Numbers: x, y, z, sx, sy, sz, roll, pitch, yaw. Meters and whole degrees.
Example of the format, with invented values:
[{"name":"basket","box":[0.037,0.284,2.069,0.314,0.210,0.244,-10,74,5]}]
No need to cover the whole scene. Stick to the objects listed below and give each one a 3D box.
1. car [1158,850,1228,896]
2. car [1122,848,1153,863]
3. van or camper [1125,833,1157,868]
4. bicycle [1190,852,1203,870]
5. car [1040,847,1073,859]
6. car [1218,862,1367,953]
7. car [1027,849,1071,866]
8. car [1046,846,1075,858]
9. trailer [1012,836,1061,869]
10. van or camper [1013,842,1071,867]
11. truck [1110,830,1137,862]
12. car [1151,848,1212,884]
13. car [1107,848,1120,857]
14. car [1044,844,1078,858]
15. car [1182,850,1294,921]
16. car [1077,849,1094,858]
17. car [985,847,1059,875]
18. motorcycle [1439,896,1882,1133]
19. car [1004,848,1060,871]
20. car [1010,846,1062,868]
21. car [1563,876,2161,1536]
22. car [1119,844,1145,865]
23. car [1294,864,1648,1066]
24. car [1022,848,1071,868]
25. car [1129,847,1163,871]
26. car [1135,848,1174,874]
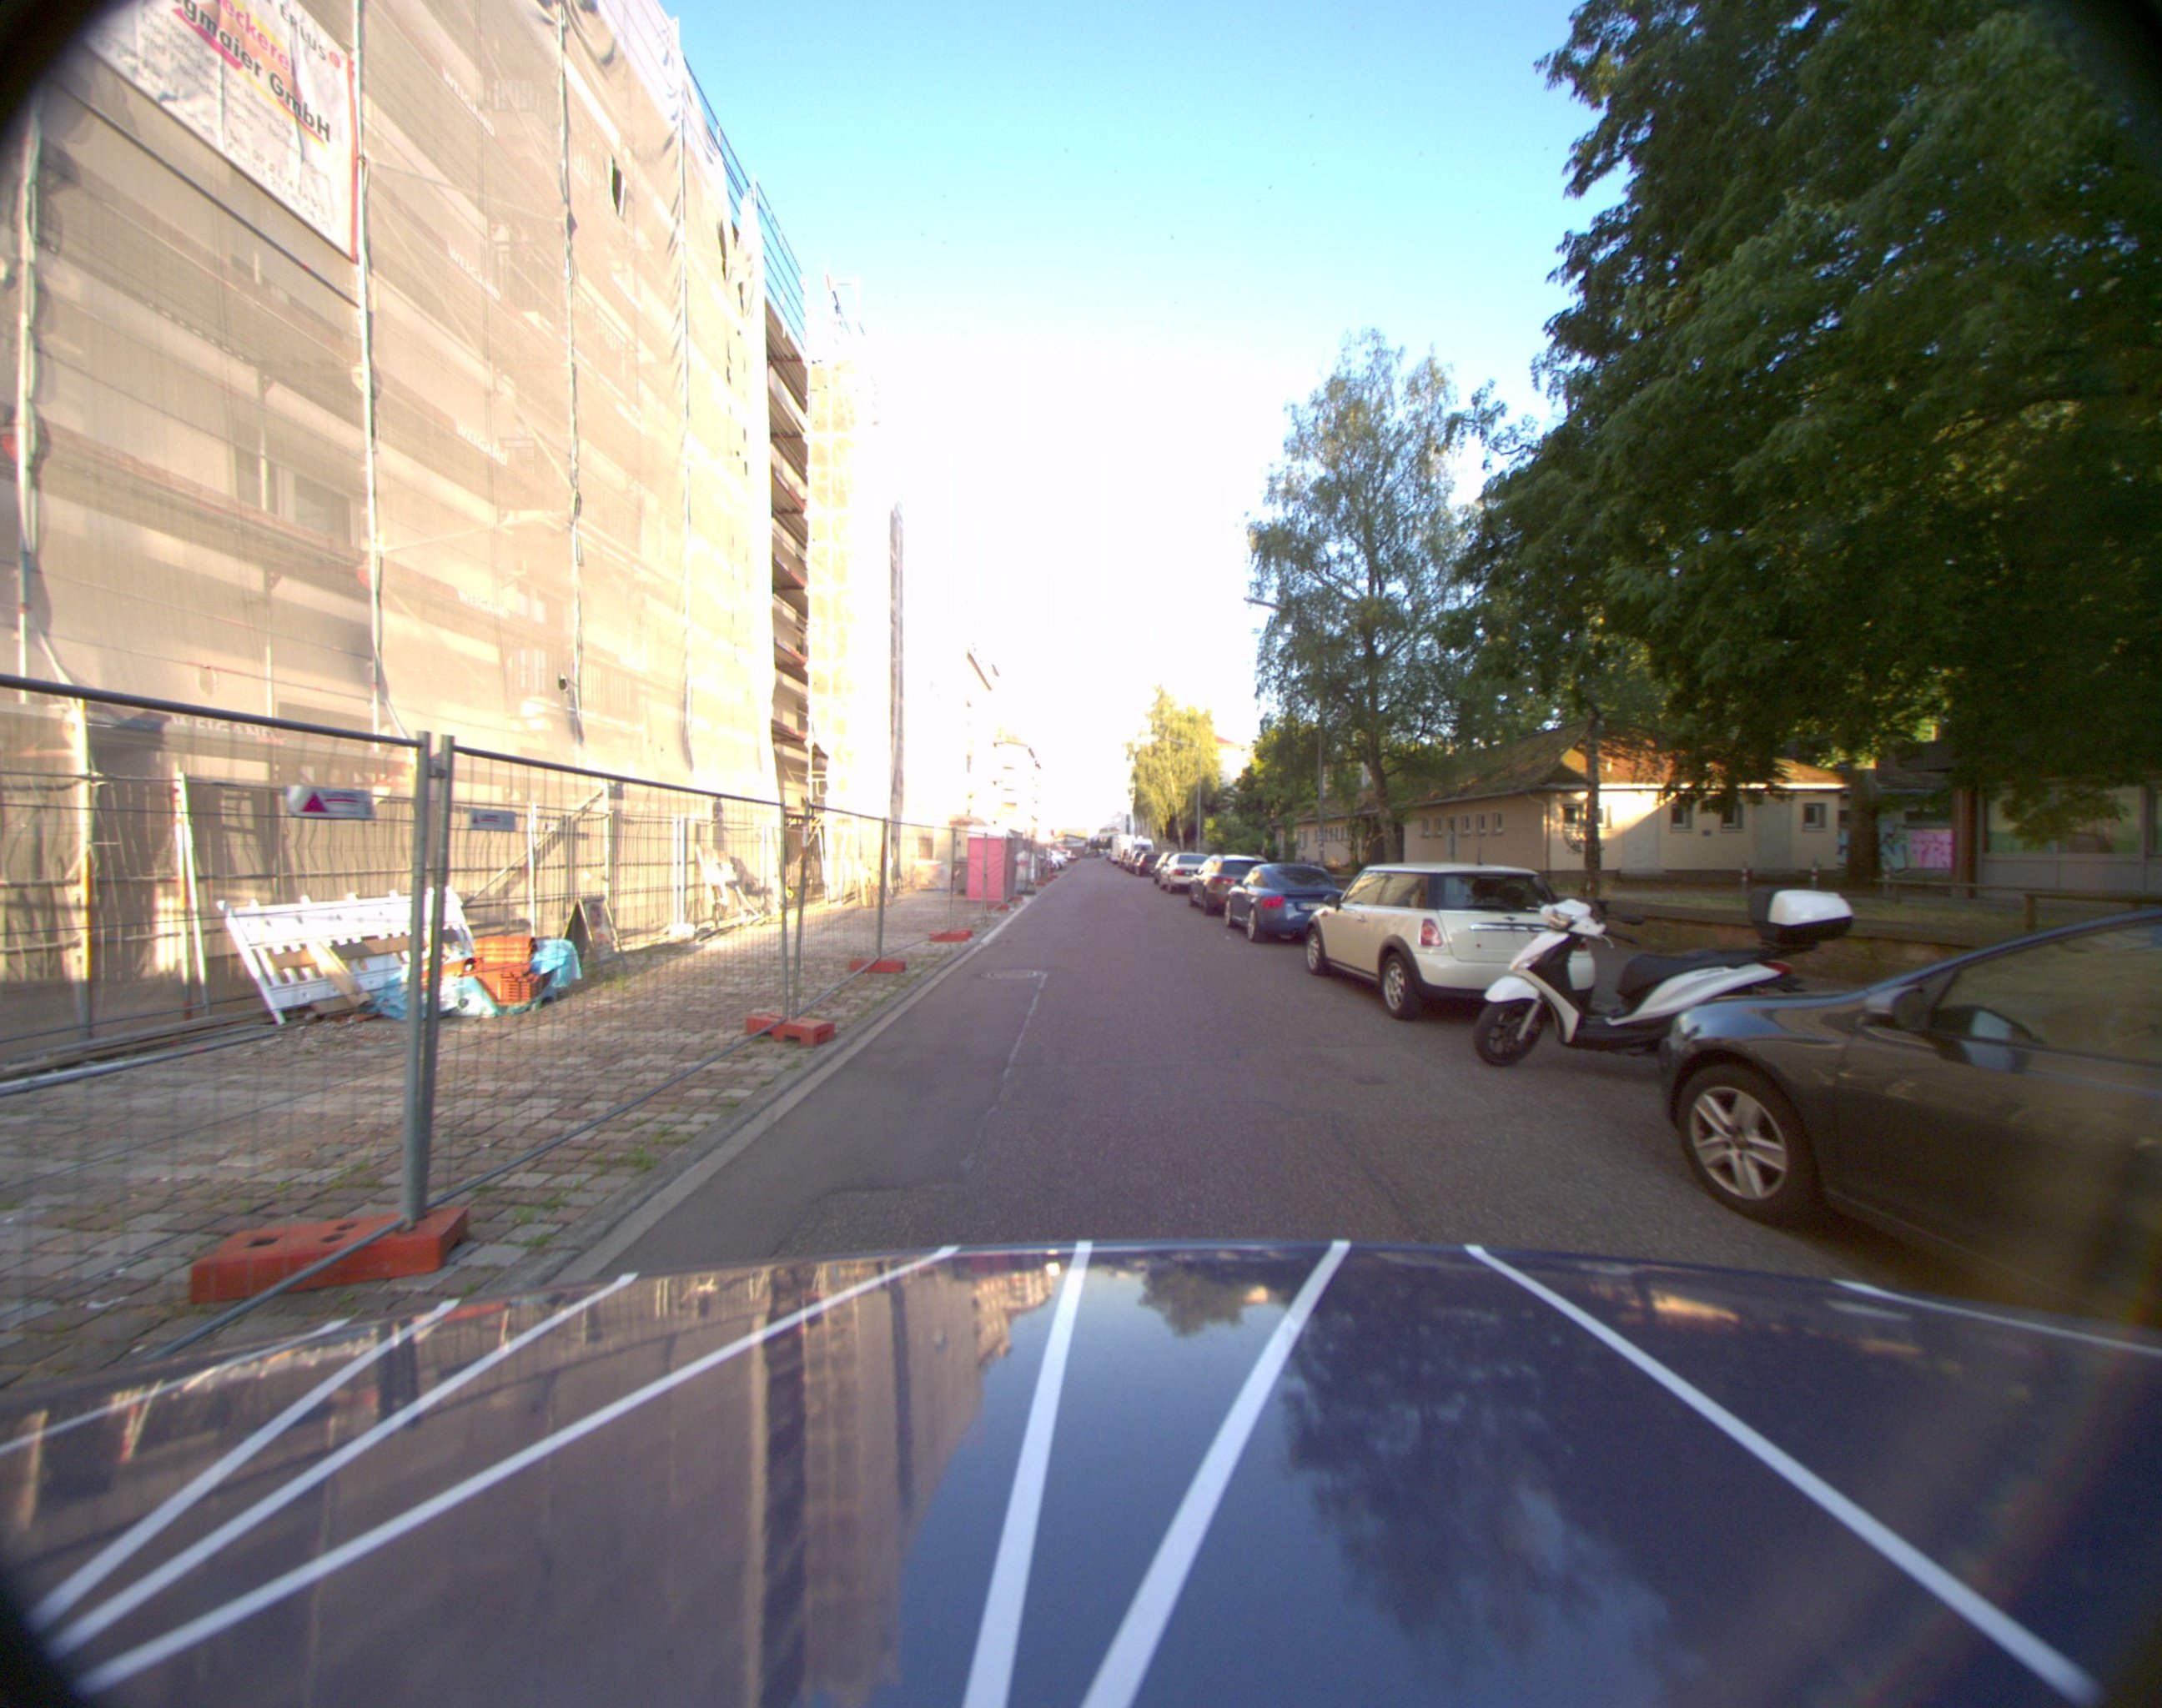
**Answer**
[{"name":"car","box":[3.931,0.621,27.448,1.787,1.437,4.748,2,1,0]},{"name":"car","box":[4.705,0.138,63.404,1.999,1.182,4.034,-1,1,-4]},{"name":"van or camper","box":[4.491,-0.264,57.374,1.998,2.442,6.082,0,0,1]},{"name":"bicycle","box":[7.643,0.450,50.375,0.544,1.111,1.955,-1,1,0]},{"name":"car","box":[-3.262,-0.177,101.072,4.310,1.532,1.923,0,1,2]},{"name":"car","box":[3.689,0.868,13.999,1.663,1.306,4.154,1,1,1]},{"name":"car","box":[-3.051,0.336,72.462,4.113,1.576,1.854,0,1,-2]},{"name":"car","box":[-2.853,-0.266,106.094,3.997,1.619,1.784,0,1,-2]},{"name":"trailer","box":[-3.362,-0.102,58.037,3.577,2.323,1.940,2,1,-2]},{"name":"van or camper","box":[-3.308,0.065,65.506,4.846,2.084,2.040,0,1,0]},{"name":"truck","box":[4.744,-0.937,85.462,2.532,3.334,8.017,2,1,1]},{"name":"car","box":[4.312,0.469,33.240,1.999,1.444,3.999,-1,1,-2]},{"name":"car","box":[5.462,-0.272,129.326,1.999,1.481,4.431,-1,0,-1]},{"name":"car","box":[-2.834,-0.480,109.000,4.685,1.988,2.000,0,1,2]},{"name":"car","box":[3.820,0.684,19.305,1.864,1.529,4.758,1,1,0]},{"name":"car","box":[0.752,-0.031,127.679,2.000,1.481,4.427,-1,0,-11]},{"name":"car","box":[-3.493,0.393,45.521,4.163,1.606,1.872,0,1,2]},{"name":"motorcycle","box":[3.652,0.966,5.054,2.167,1.296,0.881,-1,1,15]},{"name":"car","box":[-3.569,0.390,55.518,3.998,1.628,1.902,0,1,-2]},{"name":"car","box":[-3.527,0.229,60.141,3.997,1.718,1.999,0,2,-1]},{"name":"car","box":[3.462,0.905,1.882,1.720,1.487,4.360,1,1,0]},{"name":"car","box":[4.520,-0.002,68.047,1.915,1.777,4.949,1,0,0]},{"name":"car","box":[3.577,0.895,7.831,1.605,1.423,3.803,2,1,0]},{"name":"car","box":[-2.826,0.310,62.772,3.997,1.630,1.999,0,1,-1]},{"name":"car","box":[4.385,0.292,51.636,1.998,1.510,4.789,-1,1,1]},{"name":"car","box":[4.345,0.393,45.273,1.998,1.444,4.288,-1,1,1]}]
